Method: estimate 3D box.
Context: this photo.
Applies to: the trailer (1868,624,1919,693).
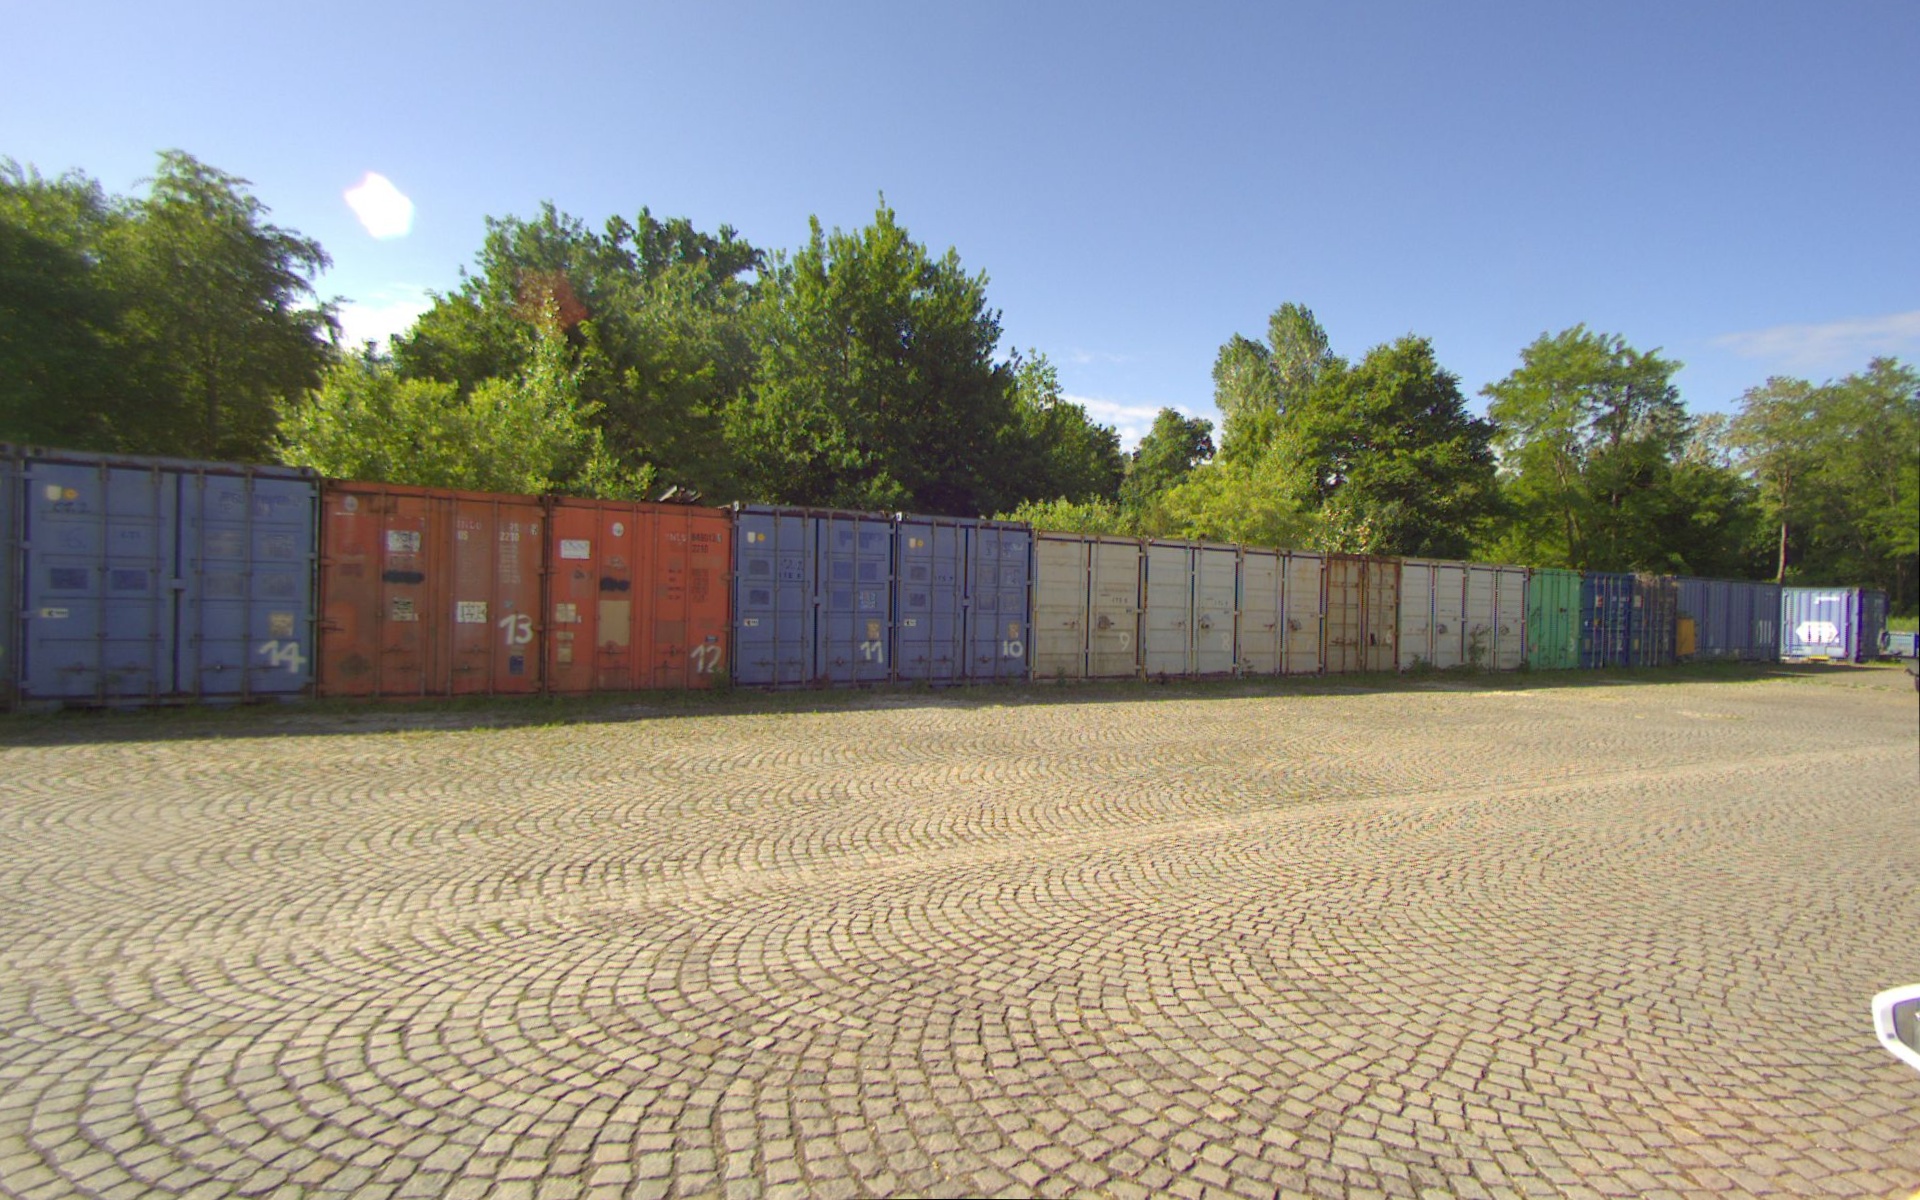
[{"bbox_3d":[22.792,1.353,22.234,4.804,1.433,2.628,2,0,-30],"label":"trailer"}]
